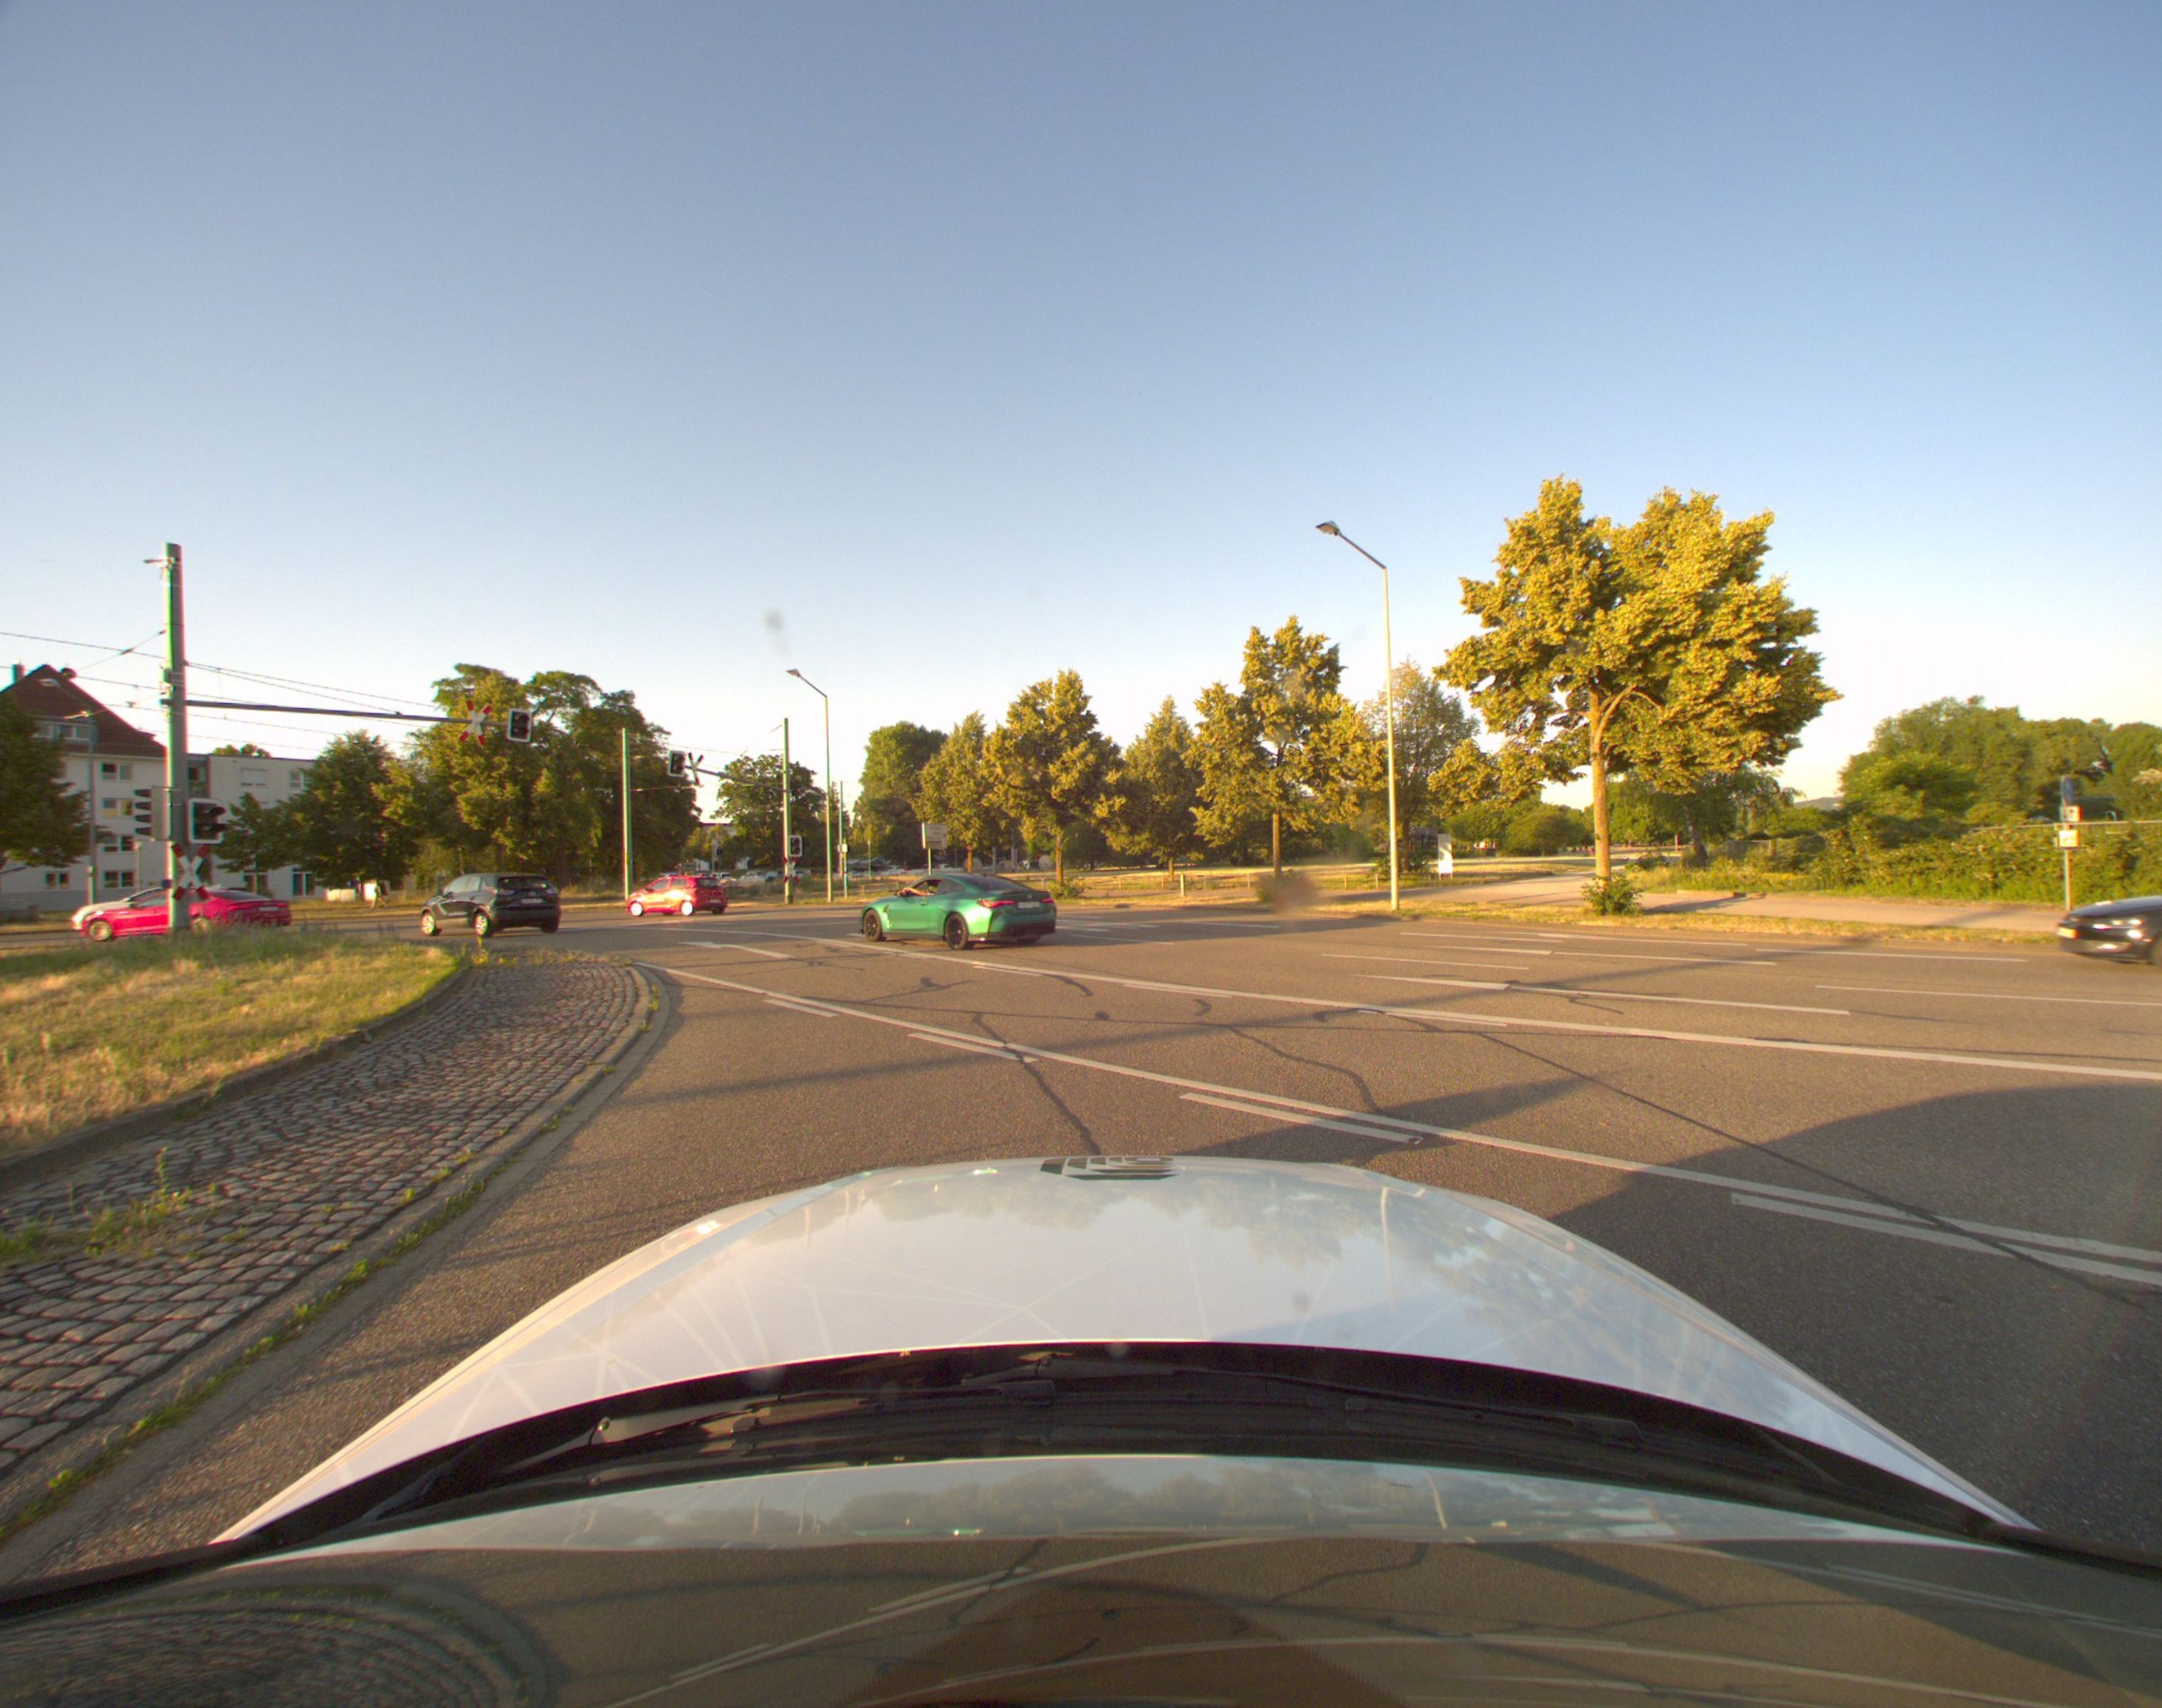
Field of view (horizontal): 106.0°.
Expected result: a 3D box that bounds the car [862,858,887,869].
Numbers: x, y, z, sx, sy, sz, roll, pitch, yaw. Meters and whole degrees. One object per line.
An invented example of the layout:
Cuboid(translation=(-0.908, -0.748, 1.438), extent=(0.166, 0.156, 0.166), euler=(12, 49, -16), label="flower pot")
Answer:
Cuboid(translation=(-37.963, 1.774, 150.042), extent=(1.975, 2.013, 4.025), euler=(-2, 0, 42), label="car")

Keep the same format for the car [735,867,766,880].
Cuboid(translation=(-46.233, 2.783, 113.943), extent=(4.005, 1.662, 1.984), euler=(-2, 0, -24), label="car")

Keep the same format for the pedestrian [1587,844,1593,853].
Cuboid(translation=(94.178, -0.939, 150.783), extent=(0.844, 1.661, 0.984), euler=(-2, 0, 27), label="pedestrian")

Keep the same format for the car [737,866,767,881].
Cuboid(translation=(-47.532, 2.767, 117.584), extent=(4.006, 2.013, 1.984), euler=(-2, 0, -24), label="car")

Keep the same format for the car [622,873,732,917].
Cuboid(translation=(-14.920, 1.501, 30.124), extent=(3.450, 1.500, 1.651), euler=(-2, 0, 19), label="car")

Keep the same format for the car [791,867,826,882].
Cuboid(translation=(-32.638, 2.457, 97.609), extent=(3.948, 1.604, 2.013), euler=(-2, 0, 34), label="car")

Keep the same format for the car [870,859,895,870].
Cuboid(translation=(-35.687, 1.885, 146.436), extent=(3.964, 1.706, 2.005), euler=(-2, 0, 8), label="car")

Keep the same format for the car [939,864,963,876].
Cuboid(translation=(-20.844, 2.524, 129.987), extent=(2.008, 1.752, 4.549), euler=(-1, 1, -35), label="car")

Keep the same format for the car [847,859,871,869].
Cuboid(translation=(-41.752, 1.884, 153.021), extent=(1.974, 1.816, 4.026), euler=(-2, 0, 37), label="car")

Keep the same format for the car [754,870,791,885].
Cuboid(translation=(-35.511, 2.708, 93.670), extent=(3.948, 1.604, 2.013), euler=(-2, 0, 34), label="car")

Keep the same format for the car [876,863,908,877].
Cuboid(translation=(-29.381, 2.412, 126.698), extent=(4.578, 2.013, 1.995), euler=(-2, 0, -7), label="car")

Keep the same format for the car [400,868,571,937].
Cuboid(translation=(-15.336, 1.207, 20.984), extent=(3.950, 1.584, 1.907), euler=(-2, 0, 26), label="car")

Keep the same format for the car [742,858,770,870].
Cuboid(translation=(-57.841, 1.804, 144.932), extent=(1.974, 2.013, 4.143), euler=(-2, 0, 36), label="car")

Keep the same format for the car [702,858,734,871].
Cuboid(translation=(-61.929, 1.789, 139.062), extent=(1.974, 2.013, 4.628), euler=(-2, 0, 36), label="car")

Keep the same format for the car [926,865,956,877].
Cuboid(translation=(-19.996, 2.368, 116.480), extent=(3.948, 1.604, 2.013), euler=(-2, 0, 34), label="car")

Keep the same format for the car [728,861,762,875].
Cuboid(translation=(-51.886, 2.122, 125.802), extent=(1.974, 2.013, 4.627), euler=(-2, 0, 32), label="car")

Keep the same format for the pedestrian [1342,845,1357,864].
Cuboid(translation=(23.103, 0.026, 70.103), extent=(1.064, 1.617, 0.911), euler=(-2, 0, 4), label="pedestrian")

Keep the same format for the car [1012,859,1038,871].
Cuboid(translation=(-7.959, 1.519, 115.262), extent=(1.748, 1.618, 3.954), euler=(-1, 0, -39), label="car")

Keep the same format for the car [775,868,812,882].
Cuboid(translation=(-33.703, 2.448, 95.429), extent=(3.948, 1.604, 2.013), euler=(-2, 0, 34), label="car")

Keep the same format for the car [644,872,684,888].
Cuboid(translation=(-42.656, 2.677, 83.323), extent=(3.948, 1.604, 2.013), euler=(-2, 0, 34), label="car")

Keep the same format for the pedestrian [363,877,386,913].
Cuboid(translation=(-38.182, 2.192, 44.017), extent=(0.666, 1.893, 0.619), euler=(0, -1, -4), label="pedestrian")

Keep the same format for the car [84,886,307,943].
Cuboid(translation=(-25.472, 1.730, 23.535), extent=(4.463, 1.392, 1.897), euler=(-2, 0, 3), label="car")

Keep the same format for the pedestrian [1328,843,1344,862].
Cuboid(translation=(22.094, -0.135, 70.522), extent=(1.064, 1.617, 0.911), euler=(-2, 0, 4), label="pedestrian")

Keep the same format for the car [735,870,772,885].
Cuboid(translation=(-37.055, 2.706, 92.060), extent=(3.948, 1.604, 2.013), euler=(-2, 0, 34), label="car")

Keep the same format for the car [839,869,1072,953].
Cuboid(translation=(-2.596, 1.027, 16.115), extent=(4.674, 1.371, 2.012), euler=(-2, 0, 42), label="car")

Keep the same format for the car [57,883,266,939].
Cuboid(translation=(-33.854, 2.056, 30.187), extent=(4.717, 1.706, 1.986), euler=(-2, 0, -20), label="car")

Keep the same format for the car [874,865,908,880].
Cuboid(translation=(-27.655, 2.681, 118.511), extent=(4.578, 2.013, 1.995), euler=(-2, 0, -7), label="car")

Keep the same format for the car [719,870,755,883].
Cuboid(translation=(-46.118, 3.014, 109.143), extent=(1.878, 1.662, 4.026), euler=(-2, 0, 37), label="car")

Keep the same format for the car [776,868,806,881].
Cuboid(translation=(-41.303, 2.881, 115.994), extent=(4.001, 1.662, 1.889), euler=(-2, 0, -20), label="car")

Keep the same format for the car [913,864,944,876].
Cuboid(translation=(-21.471, 2.312, 114.786), extent=(3.948, 1.604, 2.013), euler=(-2, 0, 34), label="car")

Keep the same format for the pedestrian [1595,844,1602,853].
Cuboid(translation=(94.531, -0.958, 148.754), extent=(0.844, 1.661, 0.984), euler=(-2, 0, 24), label="pedestrian")

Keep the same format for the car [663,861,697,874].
Cuboid(translation=(-65.667, 2.234, 133.323), extent=(1.974, 2.013, 4.627), euler=(-2, 0, 32), label="car")

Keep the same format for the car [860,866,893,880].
Cuboid(translation=(-26.674, 2.481, 105.986), extent=(3.948, 1.604, 2.013), euler=(-2, 0, 34), label="car")

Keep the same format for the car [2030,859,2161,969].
Cuboid(translation=(14.966, 0.713, 10.028), extent=(3.948, 1.354, 1.705), euler=(-2, -2, 37), label="car")

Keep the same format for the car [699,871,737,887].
Cuboid(translation=(-39.025, 2.684, 87.541), extent=(3.948, 1.604, 2.013), euler=(-2, 0, 34), label="car")
